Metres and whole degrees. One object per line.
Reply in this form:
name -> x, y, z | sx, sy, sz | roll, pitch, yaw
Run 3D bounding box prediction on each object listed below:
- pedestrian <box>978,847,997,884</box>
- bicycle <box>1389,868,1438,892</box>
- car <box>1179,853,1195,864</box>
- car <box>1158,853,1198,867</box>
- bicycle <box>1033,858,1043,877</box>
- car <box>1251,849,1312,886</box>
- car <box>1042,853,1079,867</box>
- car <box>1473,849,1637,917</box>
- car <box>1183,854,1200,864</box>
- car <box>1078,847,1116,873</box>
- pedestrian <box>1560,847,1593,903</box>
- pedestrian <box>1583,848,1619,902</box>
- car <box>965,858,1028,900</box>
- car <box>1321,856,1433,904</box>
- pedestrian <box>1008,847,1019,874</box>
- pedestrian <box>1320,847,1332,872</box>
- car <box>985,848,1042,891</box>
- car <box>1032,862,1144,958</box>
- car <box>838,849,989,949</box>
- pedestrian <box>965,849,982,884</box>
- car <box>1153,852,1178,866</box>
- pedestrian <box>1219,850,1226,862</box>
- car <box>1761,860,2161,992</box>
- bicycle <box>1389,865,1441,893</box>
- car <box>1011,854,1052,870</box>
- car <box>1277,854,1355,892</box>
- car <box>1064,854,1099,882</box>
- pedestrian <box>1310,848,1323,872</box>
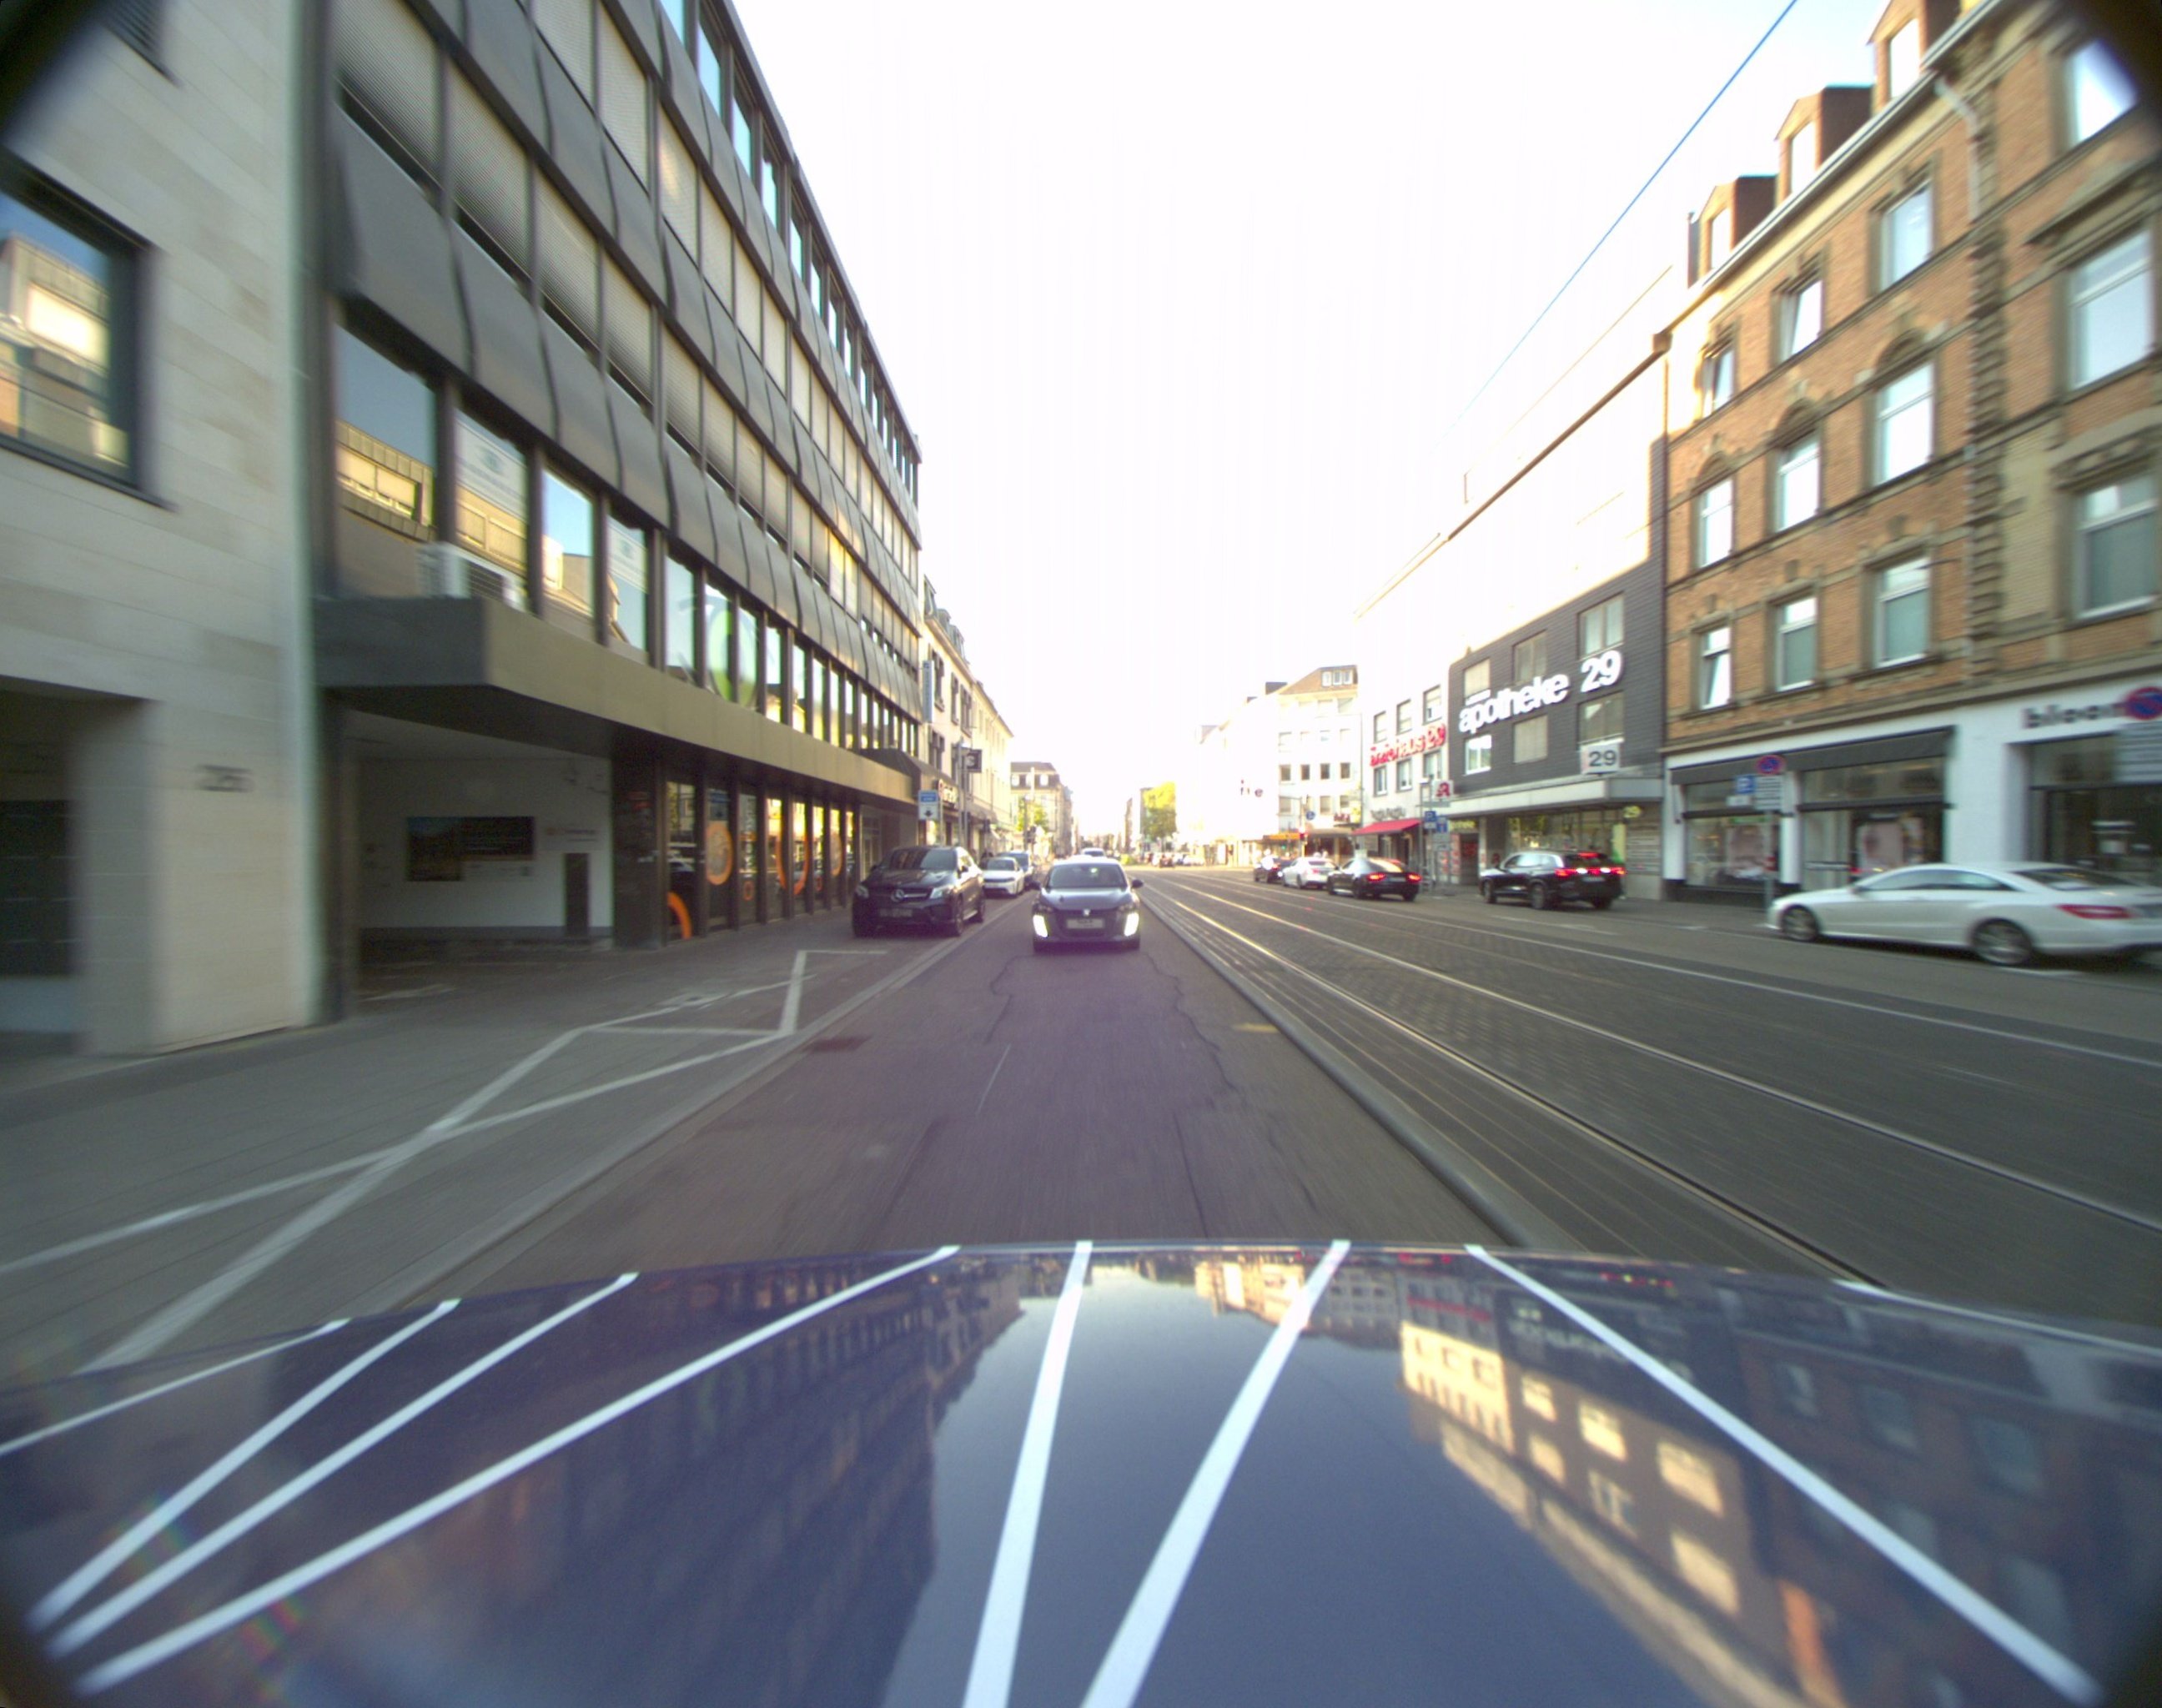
pedestrian -> -4.648, 0.553, 38.001 | 0.768, 1.795, 0.928 | 1, 1, 2
bicycle -> 13.791, 1.064, 31.544 | 1.809, 0.907, 0.456 | -3, -1, 1
car -> 13.826, 0.570, 99.170 | 1.636, 1.345, 3.389 | -3, -1, 1
car -> 9.238, 0.555, 72.524 | 3.490, 1.326, 1.597 | 0, 0, -7
bicycle -> -2.662, 0.821, 47.369 | 0.535, 1.140, 1.490 | 0, 1, -1
car -> 10.314, 0.649, 39.480 | 1.998, 1.717, 4.728 | 2, 0, 2
car -> -2.055, 0.617, 74.442 | 3.490, 1.326, 1.597 | 0, 0, -7
car -> 13.213, 0.743, 21.597 | 1.935, 1.664, 4.647 | -2, 0, 3
car -> 13.730, 0.618, 94.380 | 1.636, 1.246, 3.389 | -3, -1, 1
car -> 1.109, 0.397, 55.373 | 1.829, 1.787, 4.280 | 0, 0, -13
pedestrian -> 15.452, 0.650, 23.726 | 0.622, 1.689, 0.602 | -1, 0, 1
pedestrian -> 16.157, 0.650, 23.605 | 0.684, 1.651, 0.624 | -1, 0, 1
car -> -3.022, 0.848, 27.920 | 1.800, 1.424, 3.887 | 0, 0, 1
car -> 9.983, 0.830, 26.077 | 1.998, 1.444, 4.648 | 1, 0, 0
pedestrian -> -4.857, 0.457, 54.589 | 0.663, 1.916, 0.879 | 1, 1, -1
pedestrian -> 17.722, 0.376, 54.891 | 0.638, 1.768, 0.600 | -1, 1, -7
car -> -2.922, 0.629, 33.959 | 1.998, 1.717, 4.576 | 1, 0, 1
car -> 0.104, 0.910, 14.014 | 1.751, 1.434, 3.905 | -1, 0, 0
car -> -3.187, 0.771, 15.487 | 1.998, 1.717, 4.565 | 0, 0, 1
pedestrian -> -5.328, 0.604, 37.662 | 0.651, 1.708, 0.678 | 2, 1, 2
car -> 9.421, 0.538, 84.450 | 1.715, 1.463, 3.991 | 1, 0, 22
pedestrian -> 17.377, 0.206, 93.524 | 0.544, 1.463, 0.624 | -4, 0, -15
car -> 13.332, 0.883, 11.463 | 1.874, 1.444, 4.609 | -2, 1, -2
bicycle -> 13.524, 1.011, 30.784 | 1.835, 1.041, 0.489 | -3, -1, 1
car -> -4.521, 0.710, 68.539 | 1.686, 1.463, 3.736 | -1, 0, -44
car -> 10.218, 0.776, 33.395 | 1.998, 1.444, 4.655 | 2, 1, 0
car -> 0.044, 0.751, 41.881 | 1.827, 1.463, 3.985 | 0, 0, 0
pedestrian -> 16.983, 0.411, 54.705 | 0.638, 1.734, 0.668 | -1, 1, -11
